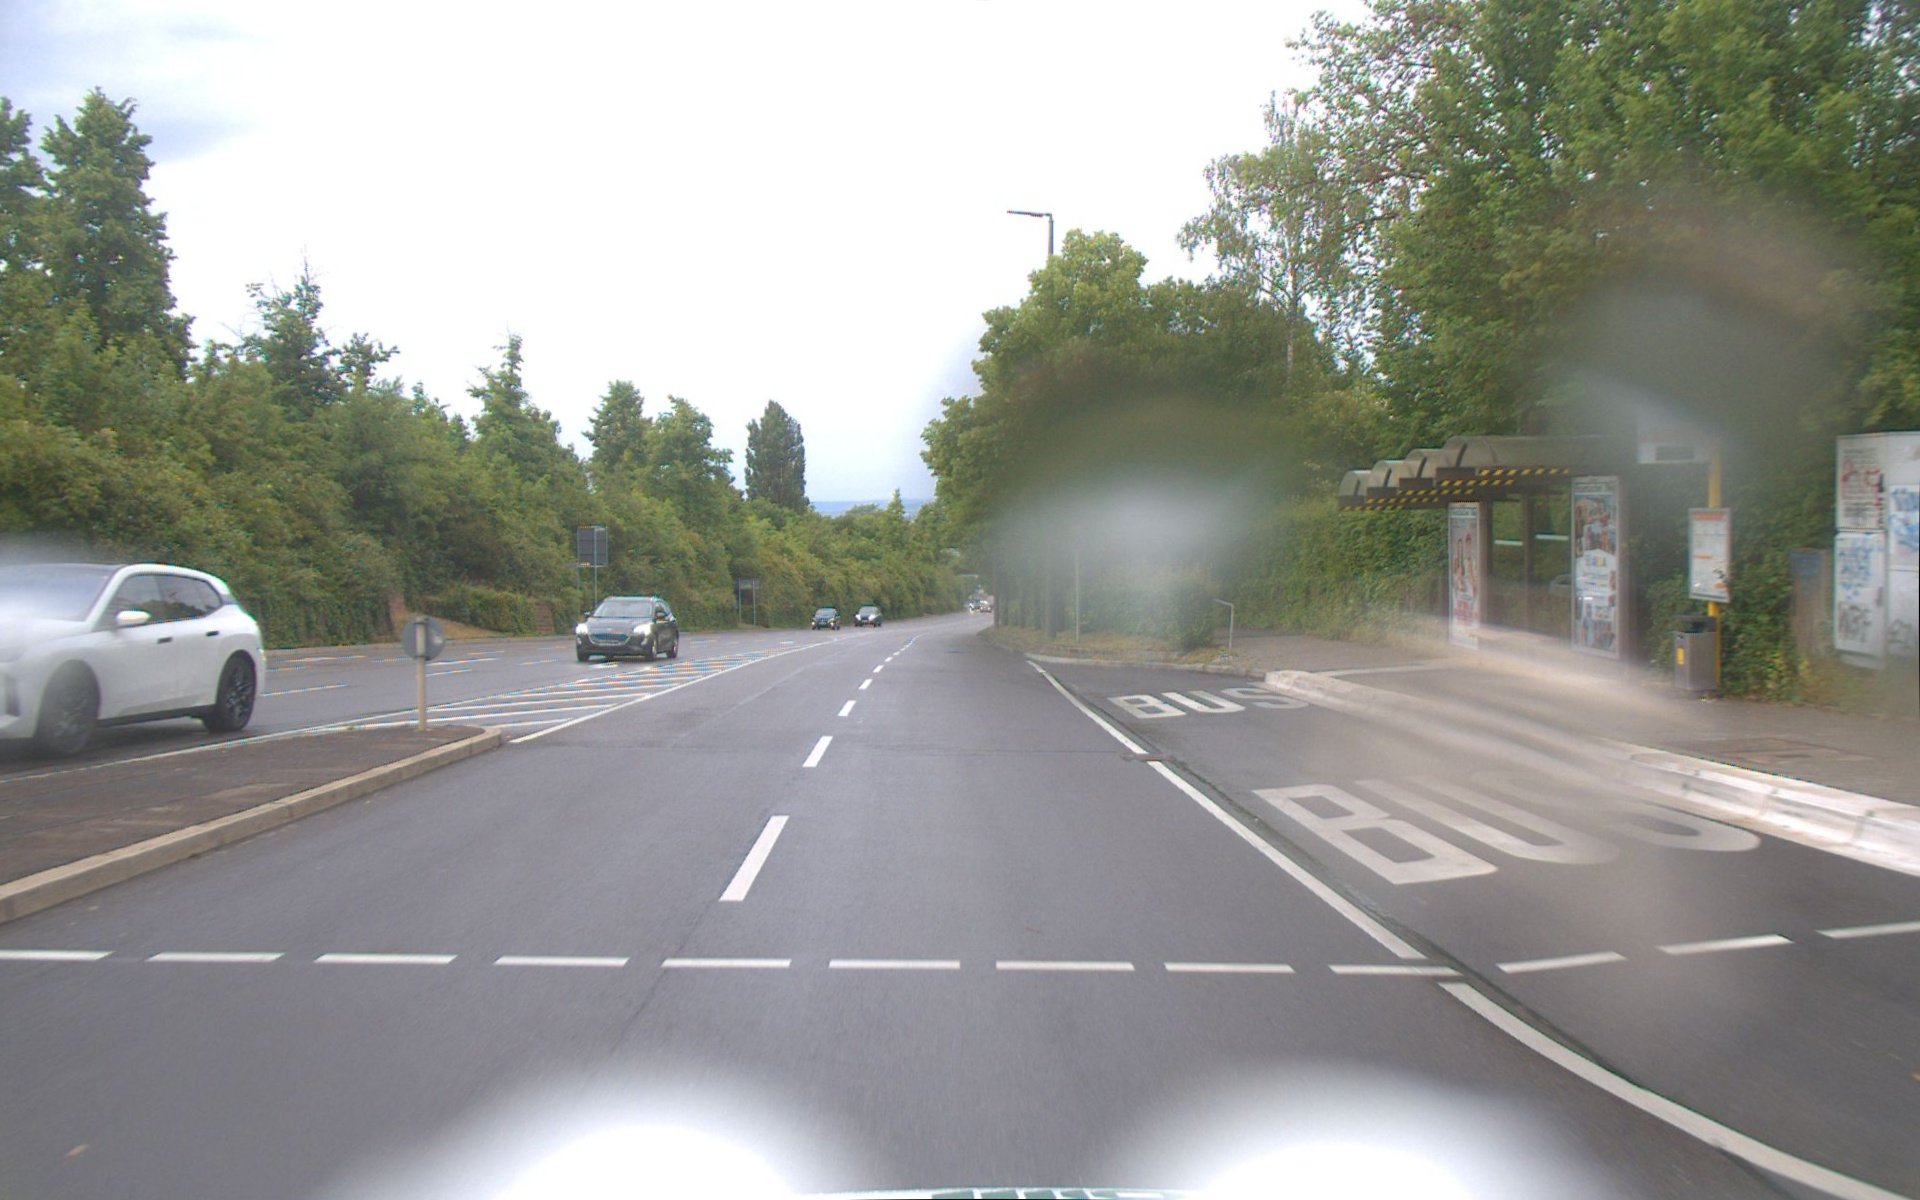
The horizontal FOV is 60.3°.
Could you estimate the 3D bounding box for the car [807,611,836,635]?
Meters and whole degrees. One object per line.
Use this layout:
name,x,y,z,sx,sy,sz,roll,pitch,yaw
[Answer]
car,-9.770,1.622,116.923,1.690,1.593,3.892,2,-1,0

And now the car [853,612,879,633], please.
car,-7.879,1.892,138.690,1.826,1.617,3.893,2,-1,2

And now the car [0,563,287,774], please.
car,-8.397,0.542,15.575,1.904,1.664,5.007,0,0,2

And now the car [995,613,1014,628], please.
car,5.006,2.267,185.428,1.904,1.619,3.930,0,1,5

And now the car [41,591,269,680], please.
car,-14.205,0.590,29.500,1.782,1.463,4.455,0,0,1

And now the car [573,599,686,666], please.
car,-7.756,0.736,39.188,1.742,1.497,4.644,0,0,0
